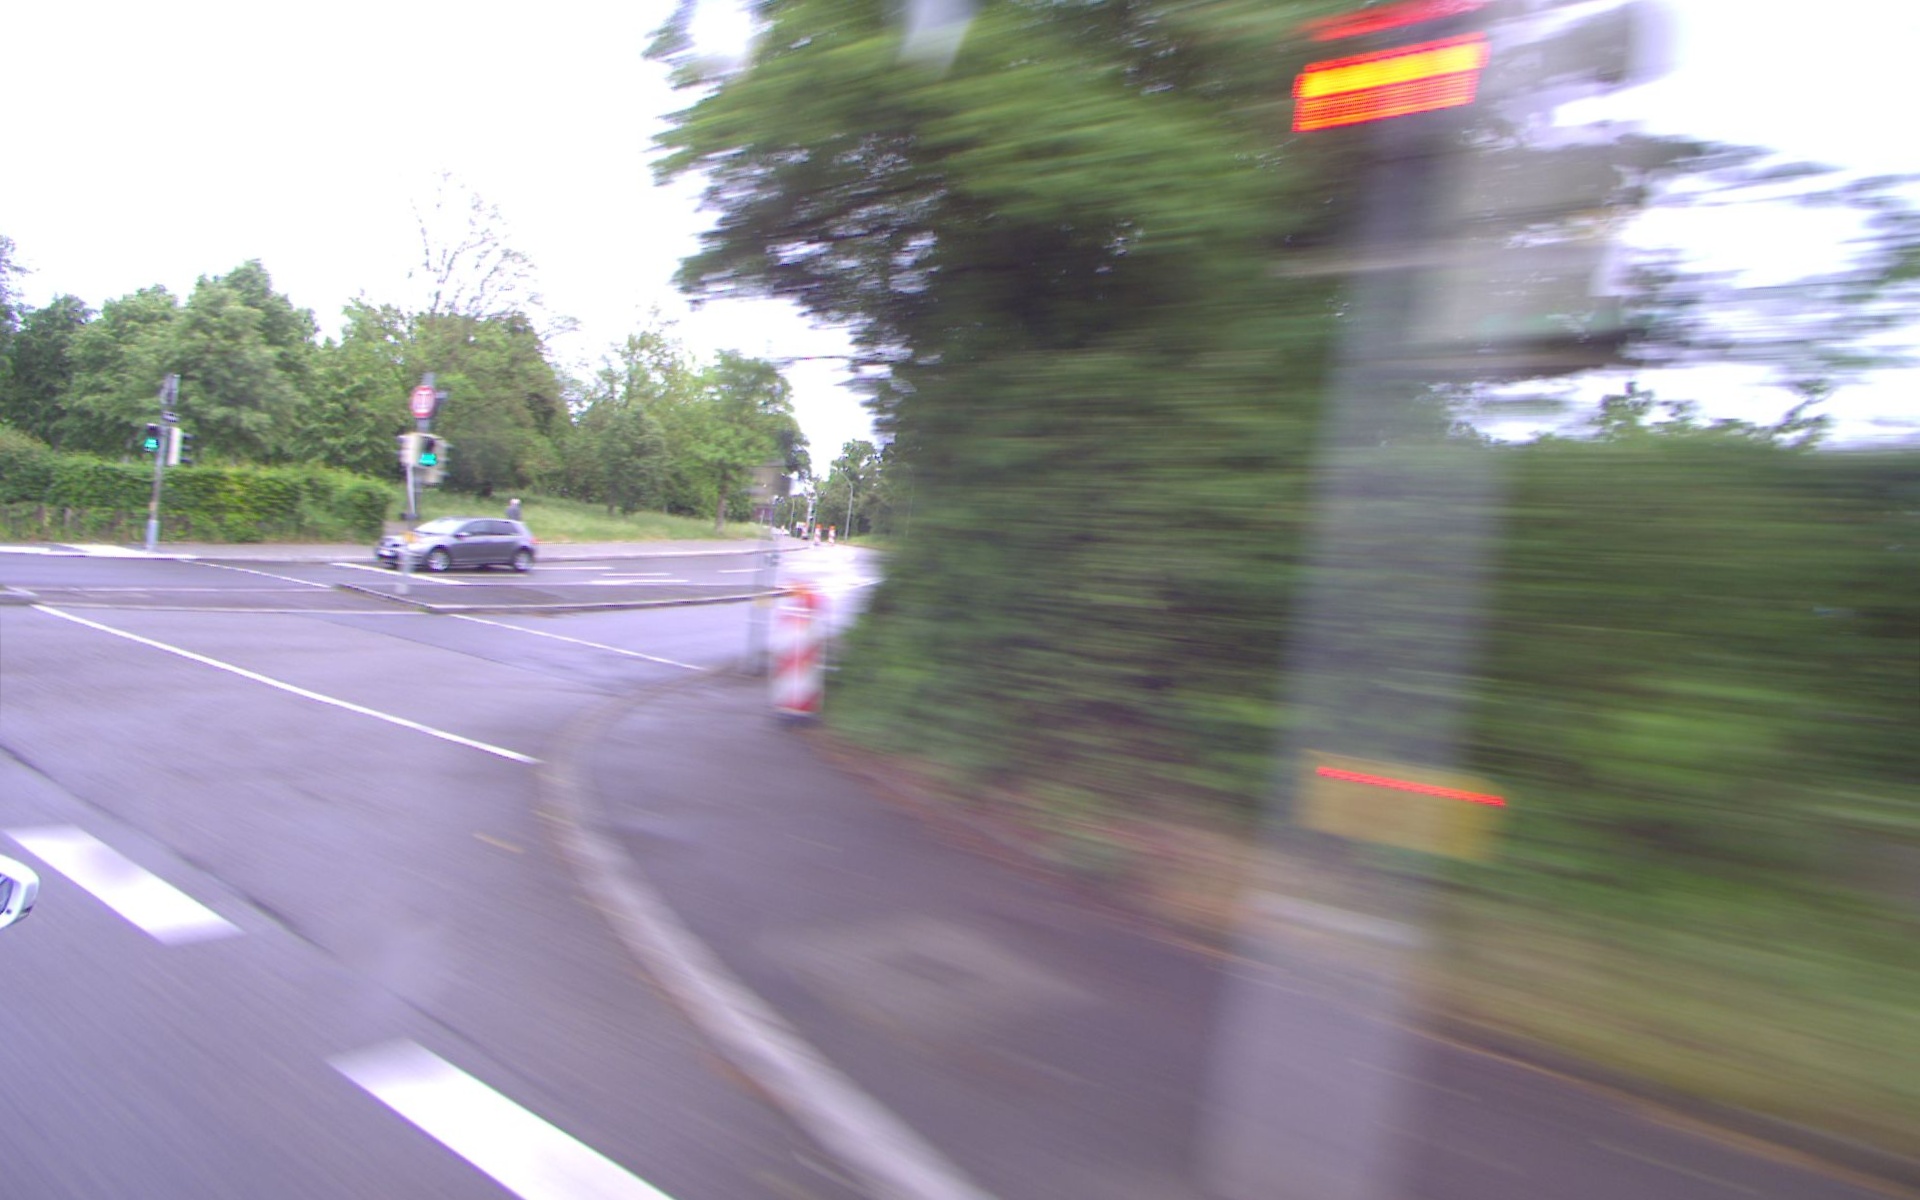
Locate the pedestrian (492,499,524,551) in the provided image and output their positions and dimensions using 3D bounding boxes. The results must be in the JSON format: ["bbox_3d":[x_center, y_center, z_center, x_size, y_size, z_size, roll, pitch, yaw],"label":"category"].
[{"bbox_3d":[-15.058,-2.496,33.522,0.678,1.604,0.473,7,2,1],"label":"pedestrian"}]

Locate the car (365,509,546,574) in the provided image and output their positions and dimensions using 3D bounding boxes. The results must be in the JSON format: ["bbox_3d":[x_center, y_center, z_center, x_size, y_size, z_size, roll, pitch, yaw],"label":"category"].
[{"bbox_3d":[-13.382,-1.575,26.948,1.856,1.475,4.074,6,6,24],"label":"car"}]
